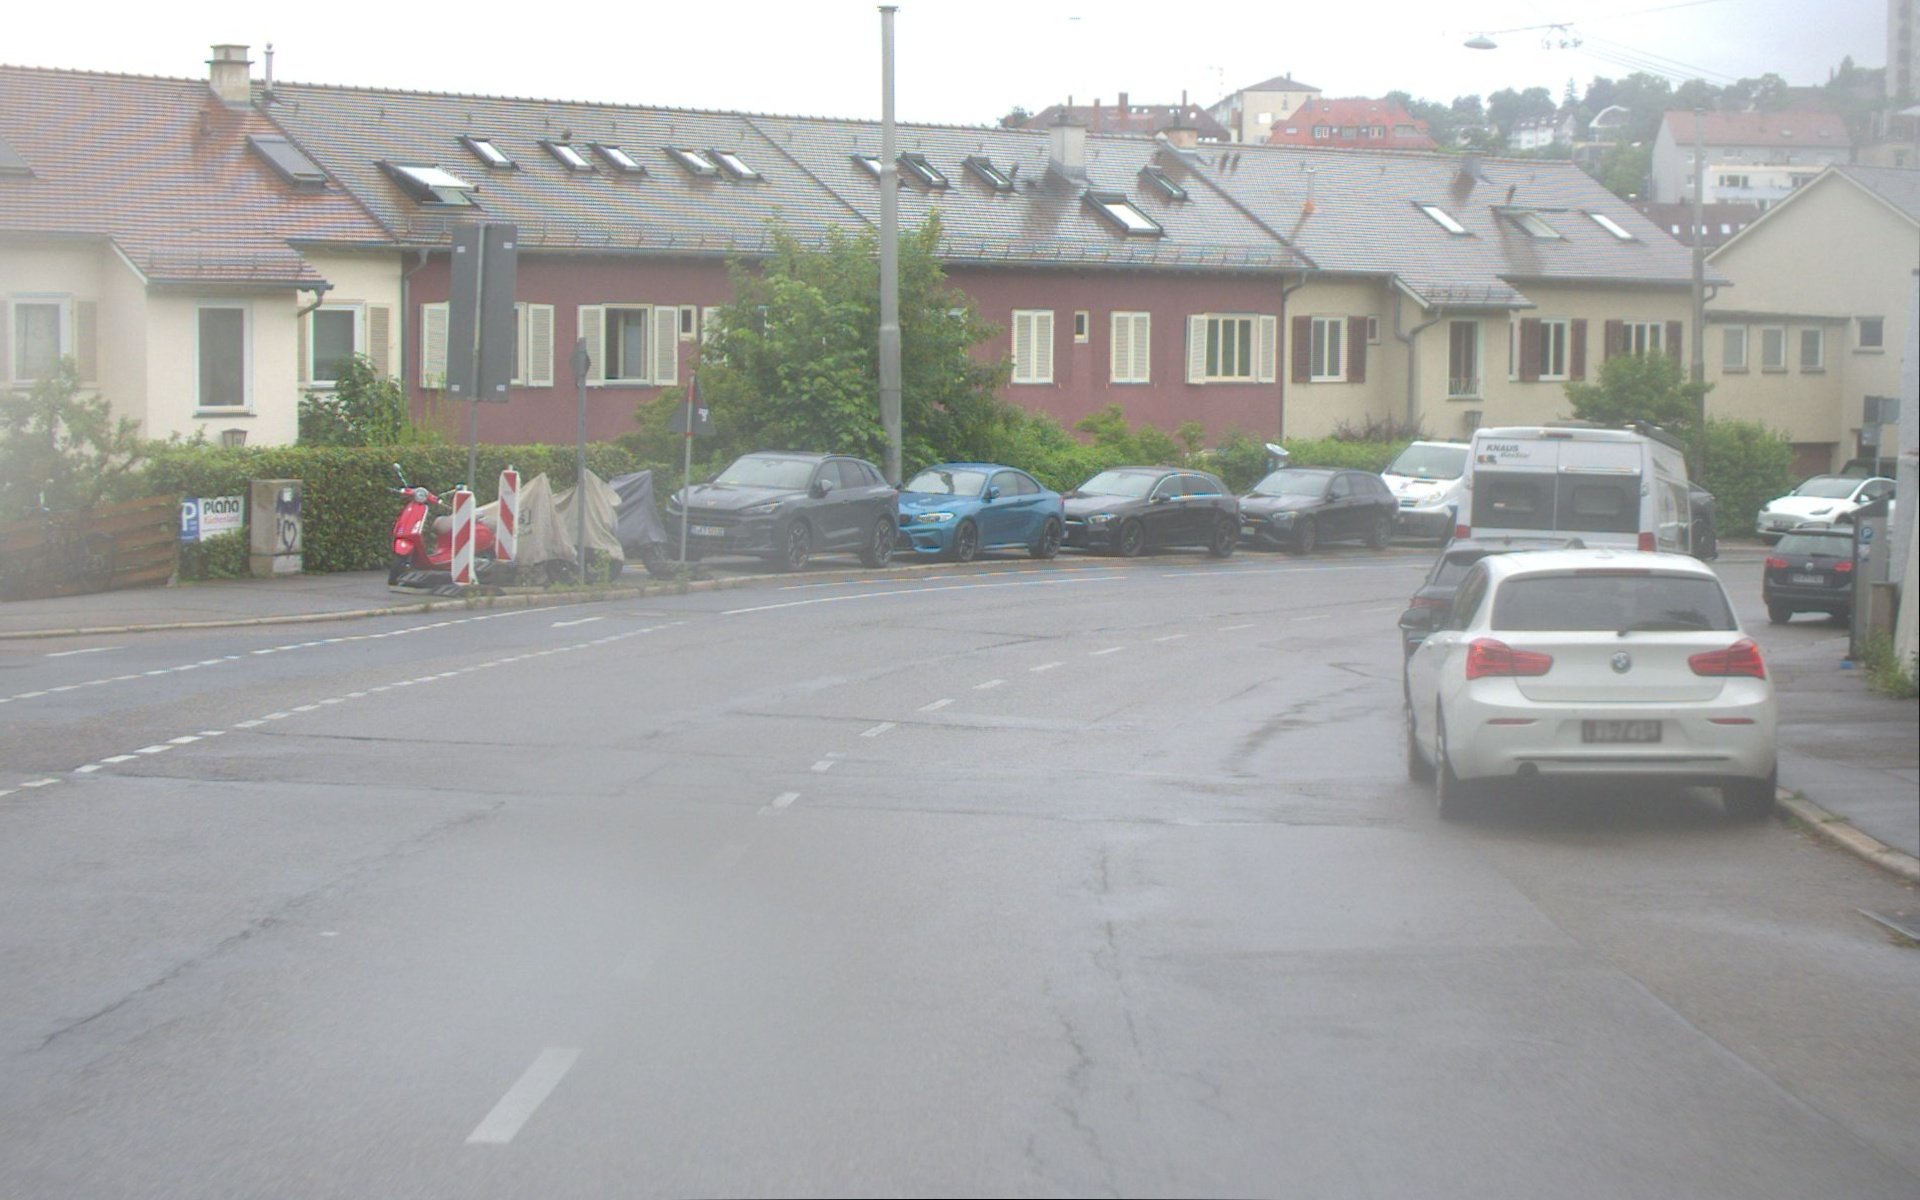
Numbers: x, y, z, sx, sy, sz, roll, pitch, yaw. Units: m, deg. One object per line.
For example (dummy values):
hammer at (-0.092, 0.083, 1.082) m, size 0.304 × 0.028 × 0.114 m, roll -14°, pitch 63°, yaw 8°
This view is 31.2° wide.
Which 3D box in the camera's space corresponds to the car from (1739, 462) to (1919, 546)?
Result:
car at (19.371, -2.097, 75.799) m, size 4.665 × 1.625 × 1.935 m, roll 0°, pitch 5°, yaw -44°

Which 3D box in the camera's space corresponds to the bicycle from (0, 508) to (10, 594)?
bicycle at (-12.055, -0.580, 41.767) m, size 1.327 × 1.031 × 0.304 m, roll -2°, pitch -3°, yaw 42°

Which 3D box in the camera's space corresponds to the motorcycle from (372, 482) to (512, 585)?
motorcycle at (-5.967, -0.779, 39.685) m, size 0.510 × 1.136 × 1.919 m, roll 1°, pitch 3°, yaw 30°

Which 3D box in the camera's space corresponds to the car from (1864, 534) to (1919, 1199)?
car at (2.954, 0.649, 5.681) m, size 1.713 × 1.508 × 4.001 m, roll 0°, pitch 1°, yaw -2°

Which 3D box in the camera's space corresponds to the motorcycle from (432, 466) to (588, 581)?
motorcycle at (-5.403, -0.929, 41.281) m, size 1.804 × 1.274 × 0.510 m, roll 4°, pitch 4°, yaw 23°

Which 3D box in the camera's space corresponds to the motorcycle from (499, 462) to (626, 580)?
motorcycle at (-4.886, -0.973, 42.164) m, size 0.611 × 1.298 × 1.807 m, roll 0°, pitch 5°, yaw -39°

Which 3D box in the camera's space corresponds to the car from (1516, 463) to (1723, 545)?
car at (13.487, -1.951, 70.178) m, size 4.510 × 1.471 × 1.813 m, roll 0°, pitch 5°, yaw -44°

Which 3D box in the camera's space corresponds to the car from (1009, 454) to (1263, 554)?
car at (2.937, -1.568, 56.651) m, size 1.812 × 1.471 × 4.512 m, roll 6°, pitch 5°, yaw 38°

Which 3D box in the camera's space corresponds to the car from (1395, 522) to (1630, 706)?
car at (5.115, 0.070, 31.433) m, size 1.755 × 1.490 × 4.181 m, roll 2°, pitch 2°, yaw 14°

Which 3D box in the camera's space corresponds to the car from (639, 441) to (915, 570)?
car at (-2.463, -1.340, 47.443) m, size 1.924 × 1.571 × 4.382 m, roll 5°, pitch 4°, yaw 24°

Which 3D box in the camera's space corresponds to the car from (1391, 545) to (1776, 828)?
car at (3.423, 0.408, 19.526) m, size 1.705 × 1.409 × 4.041 m, roll 1°, pitch 1°, yaw 4°

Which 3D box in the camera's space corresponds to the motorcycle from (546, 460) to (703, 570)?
motorcycle at (-4.261, -1.078, 43.621) m, size 1.900 × 1.266 × 0.576 m, roll 3°, pitch 4°, yaw -8°

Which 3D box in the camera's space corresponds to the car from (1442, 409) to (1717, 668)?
car at (6.739, -0.674, 36.885) m, size 2.101 × 2.533 × 5.615 m, roll 2°, pitch 2°, yaw 18°

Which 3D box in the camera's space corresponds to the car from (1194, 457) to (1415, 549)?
car at (6.179, -1.720, 61.207) m, size 1.812 × 1.471 × 4.513 m, roll 6°, pitch 4°, yaw 36°

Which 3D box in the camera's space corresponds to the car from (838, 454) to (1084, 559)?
car at (0.064, -1.444, 52.038) m, size 1.702 × 1.399 × 4.466 m, roll 6°, pitch 5°, yaw 29°

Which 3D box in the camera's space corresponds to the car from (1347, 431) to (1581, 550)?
car at (9.687, -2.077, 65.848) m, size 1.853 × 2.071 × 5.008 m, roll 7°, pitch 5°, yaw 42°

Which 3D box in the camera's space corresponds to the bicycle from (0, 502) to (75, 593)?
bicycle at (-11.024, -0.615, 40.802) m, size 1.302 × 1.031 × 0.304 m, roll -2°, pitch -3°, yaw 40°

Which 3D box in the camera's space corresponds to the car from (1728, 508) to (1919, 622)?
car at (12.930, -0.523, 50.316) m, size 1.682 × 1.478 × 4.193 m, roll 6°, pitch 4°, yaw 36°
